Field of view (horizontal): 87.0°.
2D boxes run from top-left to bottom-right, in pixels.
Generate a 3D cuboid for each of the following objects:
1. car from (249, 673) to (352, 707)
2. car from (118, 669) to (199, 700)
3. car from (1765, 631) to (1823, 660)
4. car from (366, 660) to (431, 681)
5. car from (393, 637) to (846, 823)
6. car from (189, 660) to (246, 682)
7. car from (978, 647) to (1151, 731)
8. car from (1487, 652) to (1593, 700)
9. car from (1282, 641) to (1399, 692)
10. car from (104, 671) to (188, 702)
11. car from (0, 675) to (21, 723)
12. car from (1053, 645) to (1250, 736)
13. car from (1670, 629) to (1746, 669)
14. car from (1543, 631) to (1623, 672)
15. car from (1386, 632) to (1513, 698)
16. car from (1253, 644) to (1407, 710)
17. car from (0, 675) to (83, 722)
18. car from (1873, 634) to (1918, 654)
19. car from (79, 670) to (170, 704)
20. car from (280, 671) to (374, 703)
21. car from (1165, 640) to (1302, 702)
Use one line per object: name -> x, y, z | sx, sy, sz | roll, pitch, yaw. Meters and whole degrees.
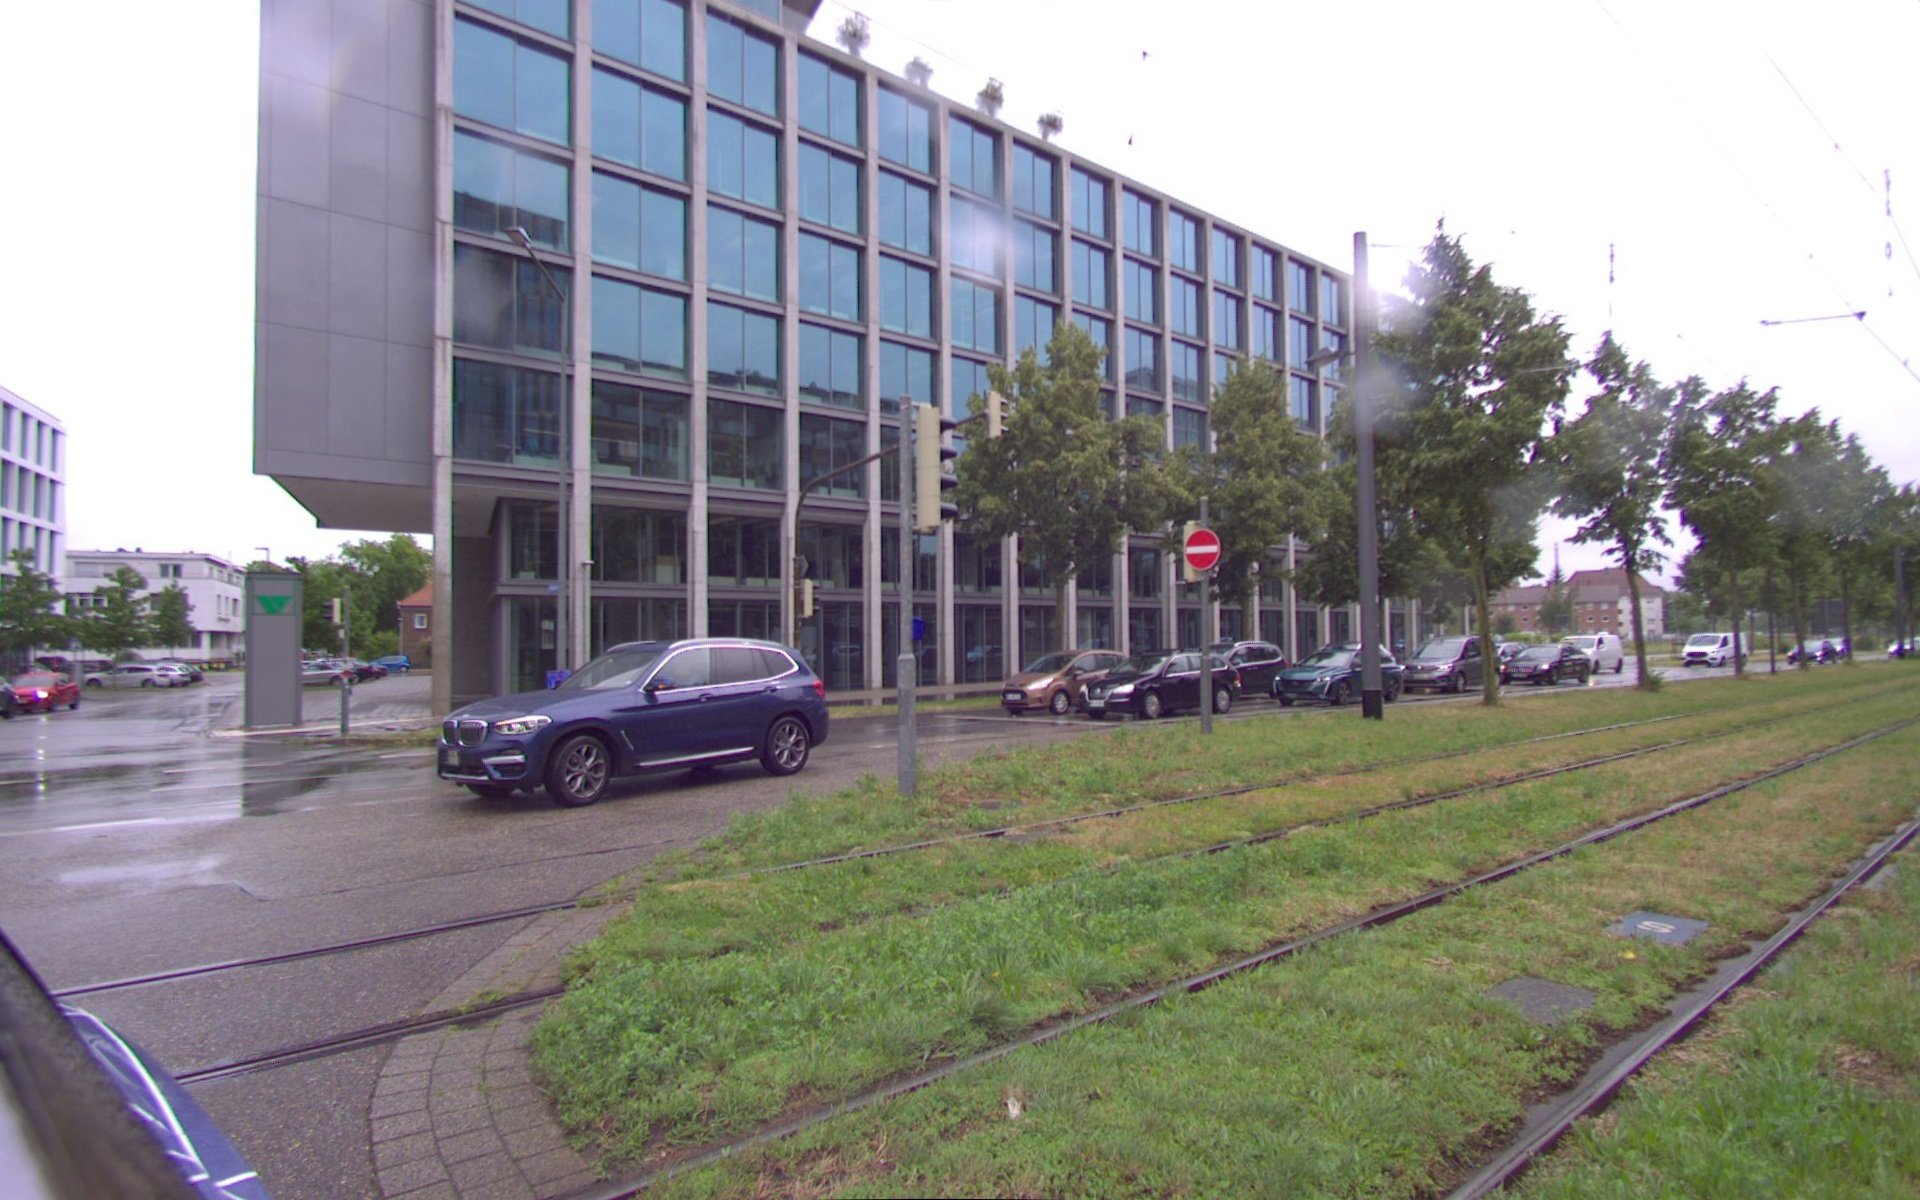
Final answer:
car -> -36.895, 5.026, 56.747 | 4.579, 1.519, 2.007 | -2, -1, -26
car -> -53.148, 5.585, 67.227 | 3.932, 1.674, 2.006 | -2, -1, -31
car -> 51.041, 2.765, 61.915 | 3.899, 1.506, 1.960 | -2, -1, -40
car -> -49.934, 6.252, 90.103 | 4.940, 1.519, 1.859 | -2, -1, -26
car -> -3.650, 1.293, 11.656 | 1.927, 1.673, 4.654 | -4, -4, 39
car -> -67.010, 6.375, 91.452 | 3.932, 1.674, 2.006 | -2, -1, -31
car -> 2.678, 2.141, 25.388 | 4.206, 1.707, 1.960 | -2, -1, -42
car -> 21.440, 2.757, 37.338 | 4.533, 1.396, 1.960 | -2, -1, -41
car -> 12.905, 2.201, 34.258 | 4.207, 1.396, 1.959 | -2, -1, -42
car -> -51.979, 5.498, 64.714 | 3.932, 1.674, 2.006 | -2, -1, -31
car -> -31.203, 3.194, 31.444 | 1.855, 1.447, 4.108 | -2, -1, -26
car -> 4.360, 1.938, 22.694 | 4.394, 1.571, 1.960 | -2, -1, -40
car -> 44.133, 2.842, 59.698 | 5.287, 2.022, 2.280 | -2, -1, -39
car -> 30.291, 2.477, 49.166 | 4.953, 1.664, 1.959 | -2, -1, -42
car -> 15.684, 2.029, 32.359 | 4.472, 1.863, 1.960 | 0, -2, -40
car -> 9.946, 1.995, 27.053 | 4.404, 1.396, 1.960 | -2, -2, -42
car -> -34.423, 3.635, 37.546 | 1.855, 1.447, 4.108 | -2, -1, -26
car -> 71.540, 3.347, 77.353 | 4.504, 1.525, 1.960 | 1, -3, -40
car -> -50.303, 5.216, 61.027 | 3.932, 1.674, 2.006 | -2, -1, -31
car -> -38.340, 5.251, 61.431 | 4.579, 1.519, 2.007 | -2, -1, -26
car -> 8.274, 2.081, 30.410 | 4.207, 1.551, 1.959 | -2, -1, -42
